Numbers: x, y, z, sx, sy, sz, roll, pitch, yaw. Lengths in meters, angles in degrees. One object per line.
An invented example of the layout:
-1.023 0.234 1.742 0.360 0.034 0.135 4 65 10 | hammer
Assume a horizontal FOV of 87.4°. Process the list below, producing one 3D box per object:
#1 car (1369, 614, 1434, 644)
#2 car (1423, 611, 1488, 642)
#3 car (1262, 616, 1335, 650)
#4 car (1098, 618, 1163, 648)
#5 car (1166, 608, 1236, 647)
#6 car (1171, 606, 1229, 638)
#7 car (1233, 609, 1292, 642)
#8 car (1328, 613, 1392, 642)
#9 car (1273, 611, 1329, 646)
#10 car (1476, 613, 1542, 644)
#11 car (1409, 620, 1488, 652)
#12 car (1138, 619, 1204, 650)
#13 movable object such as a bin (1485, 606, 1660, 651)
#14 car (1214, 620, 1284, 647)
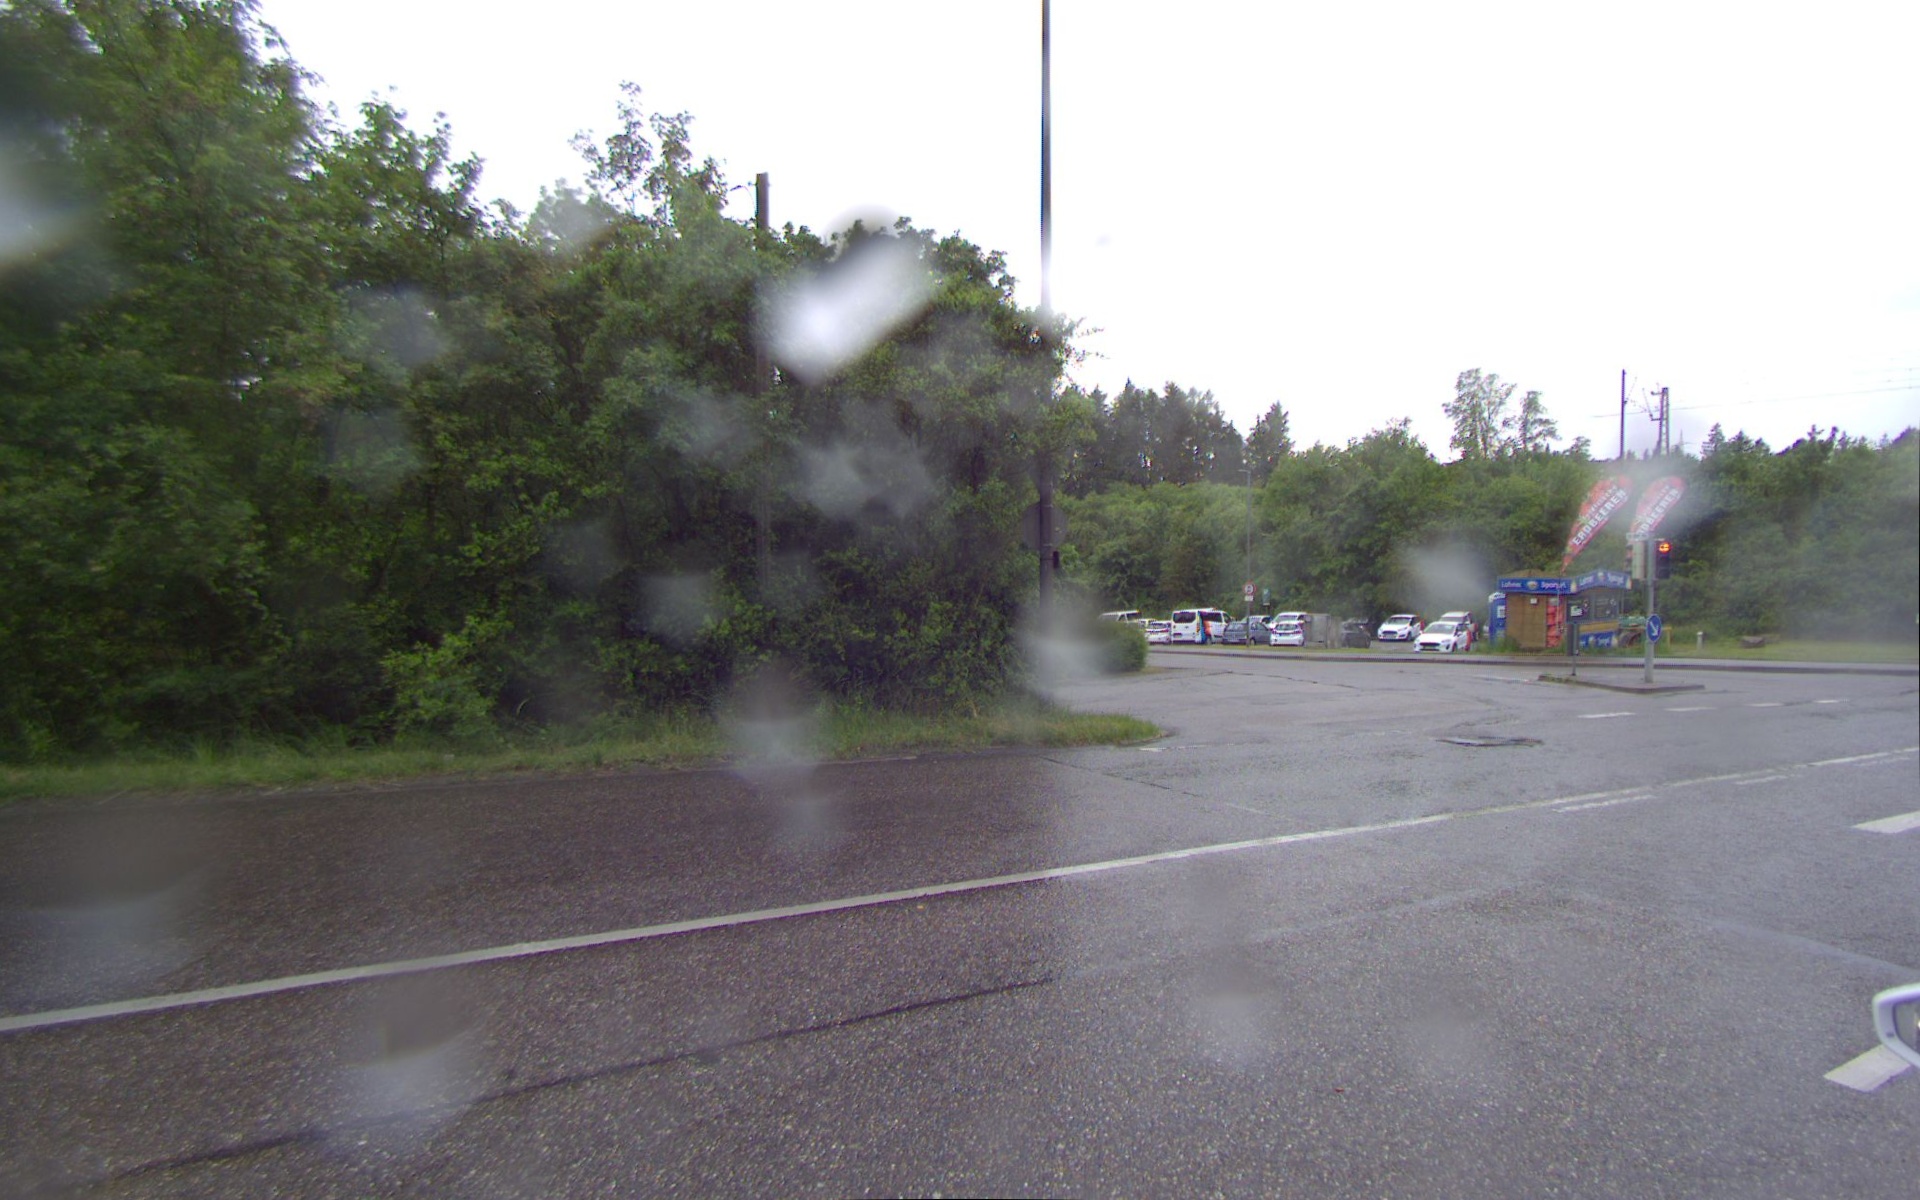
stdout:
25.127 1.655 57.178 3.972 1.606 1.975 3 -1 -43 | car
27.274 1.460 55.245 3.972 1.606 1.975 2 -2 -43 | car
17.323 1.696 51.304 3.880 1.606 1.918 3 -1 -43 | car
9.900 1.919 58.109 1.813 1.606 3.978 1 -1 42 | car
13.037 1.506 54.273 1.971 1.974 3.978 1 -1 42 | car
16.233 1.497 67.944 3.973 2.040 1.974 2 0 -44 | car
19.474 1.646 64.666 3.973 2.040 1.974 2 -2 -44 | car
23.620 1.629 59.237 3.972 1.606 1.975 3 -1 -43 | car
21.343 1.778 62.784 1.916 2.040 3.846 1 0 43 | car
29.567 1.529 54.060 3.972 1.606 1.975 2 -2 -43 | car
22.653 1.696 46.519 4.868 1.358 1.636 3 -1 -43 | car
11.813 1.943 56.211 1.834 1.606 3.978 1 -1 42 | car
25.584 1.181 42.220 5.663 1.649 2.753 2 -1 10 | movable object such as a bin
15.297 1.784 53.023 3.972 1.327 1.734 3 -1 -43 | car
